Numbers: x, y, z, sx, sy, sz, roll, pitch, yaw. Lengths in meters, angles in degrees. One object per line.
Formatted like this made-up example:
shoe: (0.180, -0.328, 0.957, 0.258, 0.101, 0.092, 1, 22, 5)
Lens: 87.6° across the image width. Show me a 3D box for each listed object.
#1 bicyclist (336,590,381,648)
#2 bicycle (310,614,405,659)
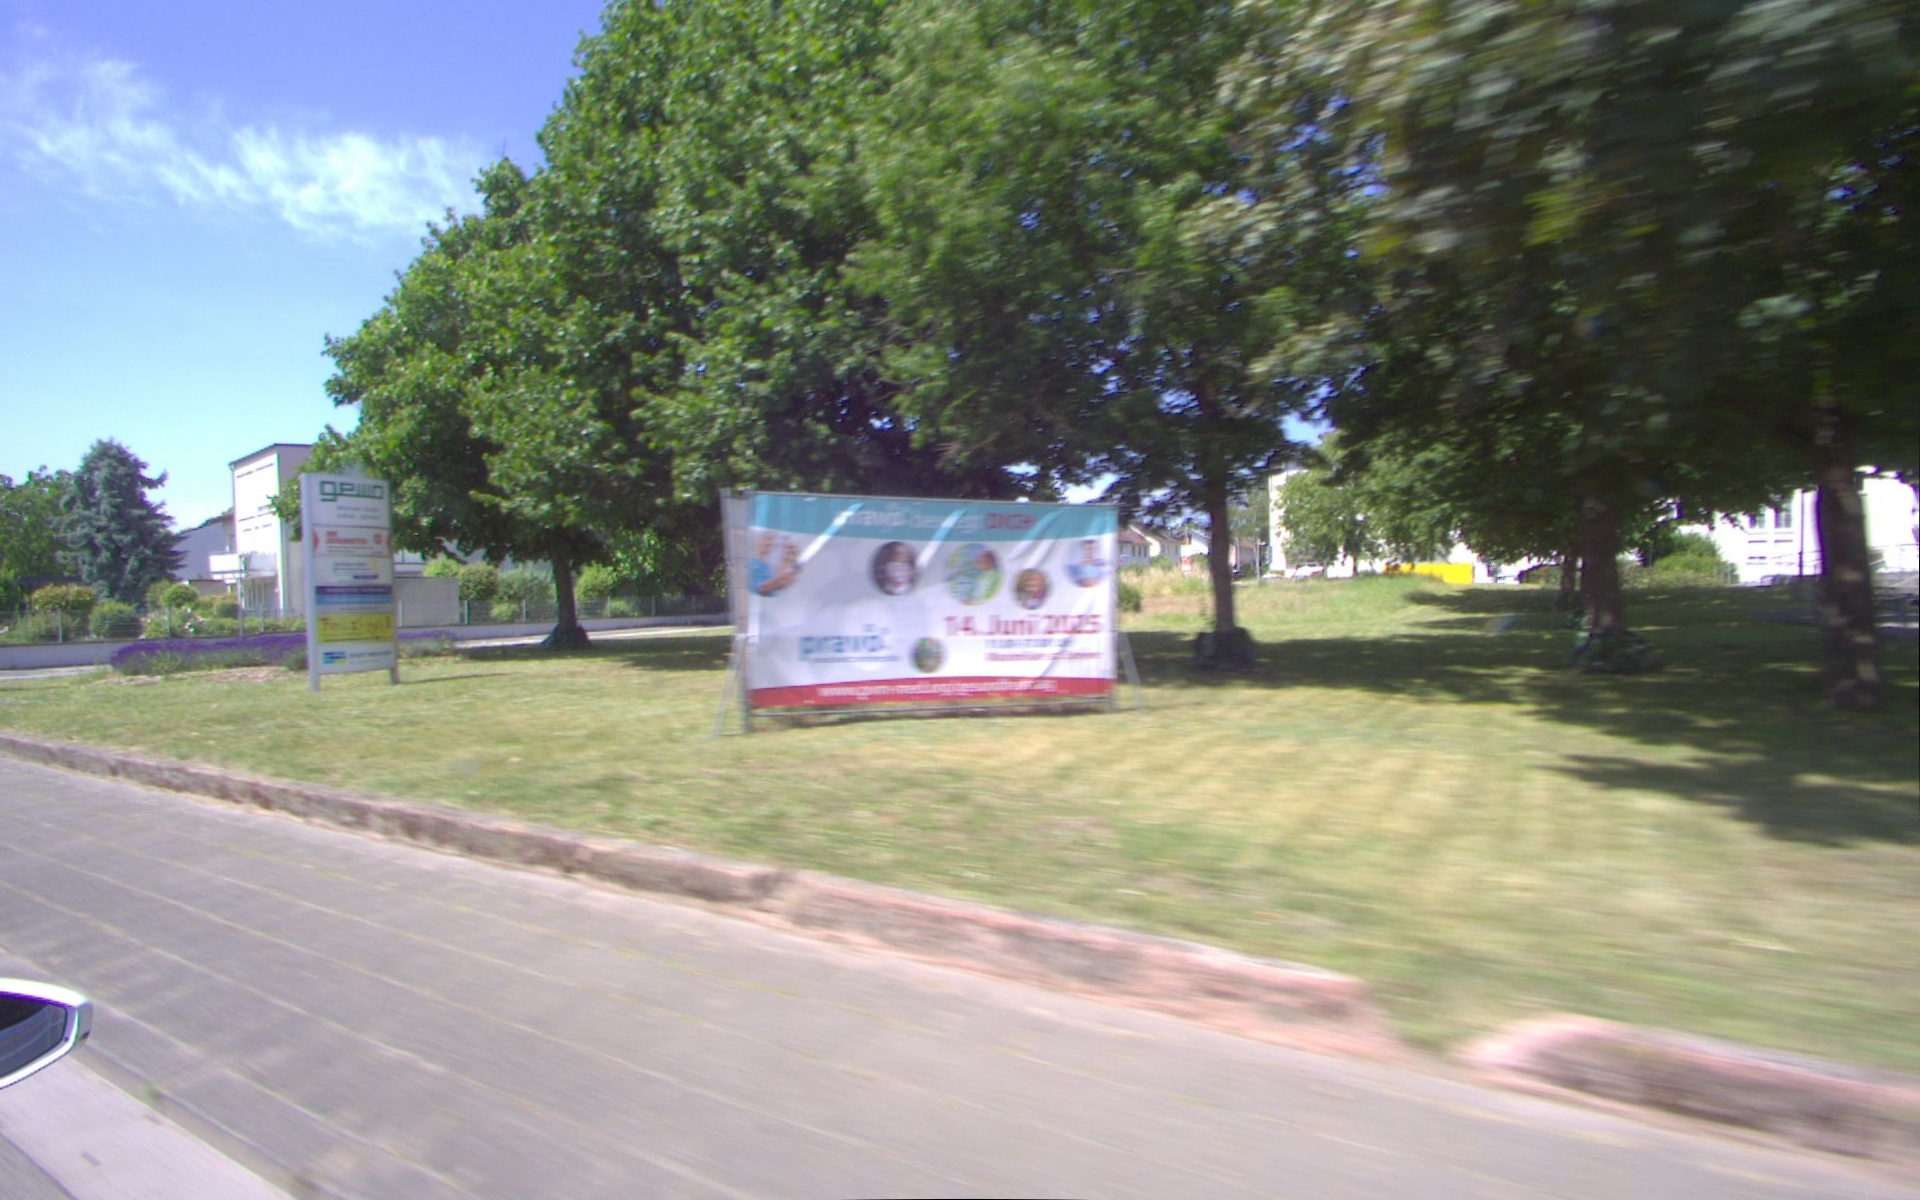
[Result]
bicyclist: (-16.593, 0.514, 27.648, 0.913, 1.551, 0.853, -2, 2, -23)
bicycle: (-16.599, 0.989, 27.650, 2.111, 1.118, 0.813, -2, 1, -23)
